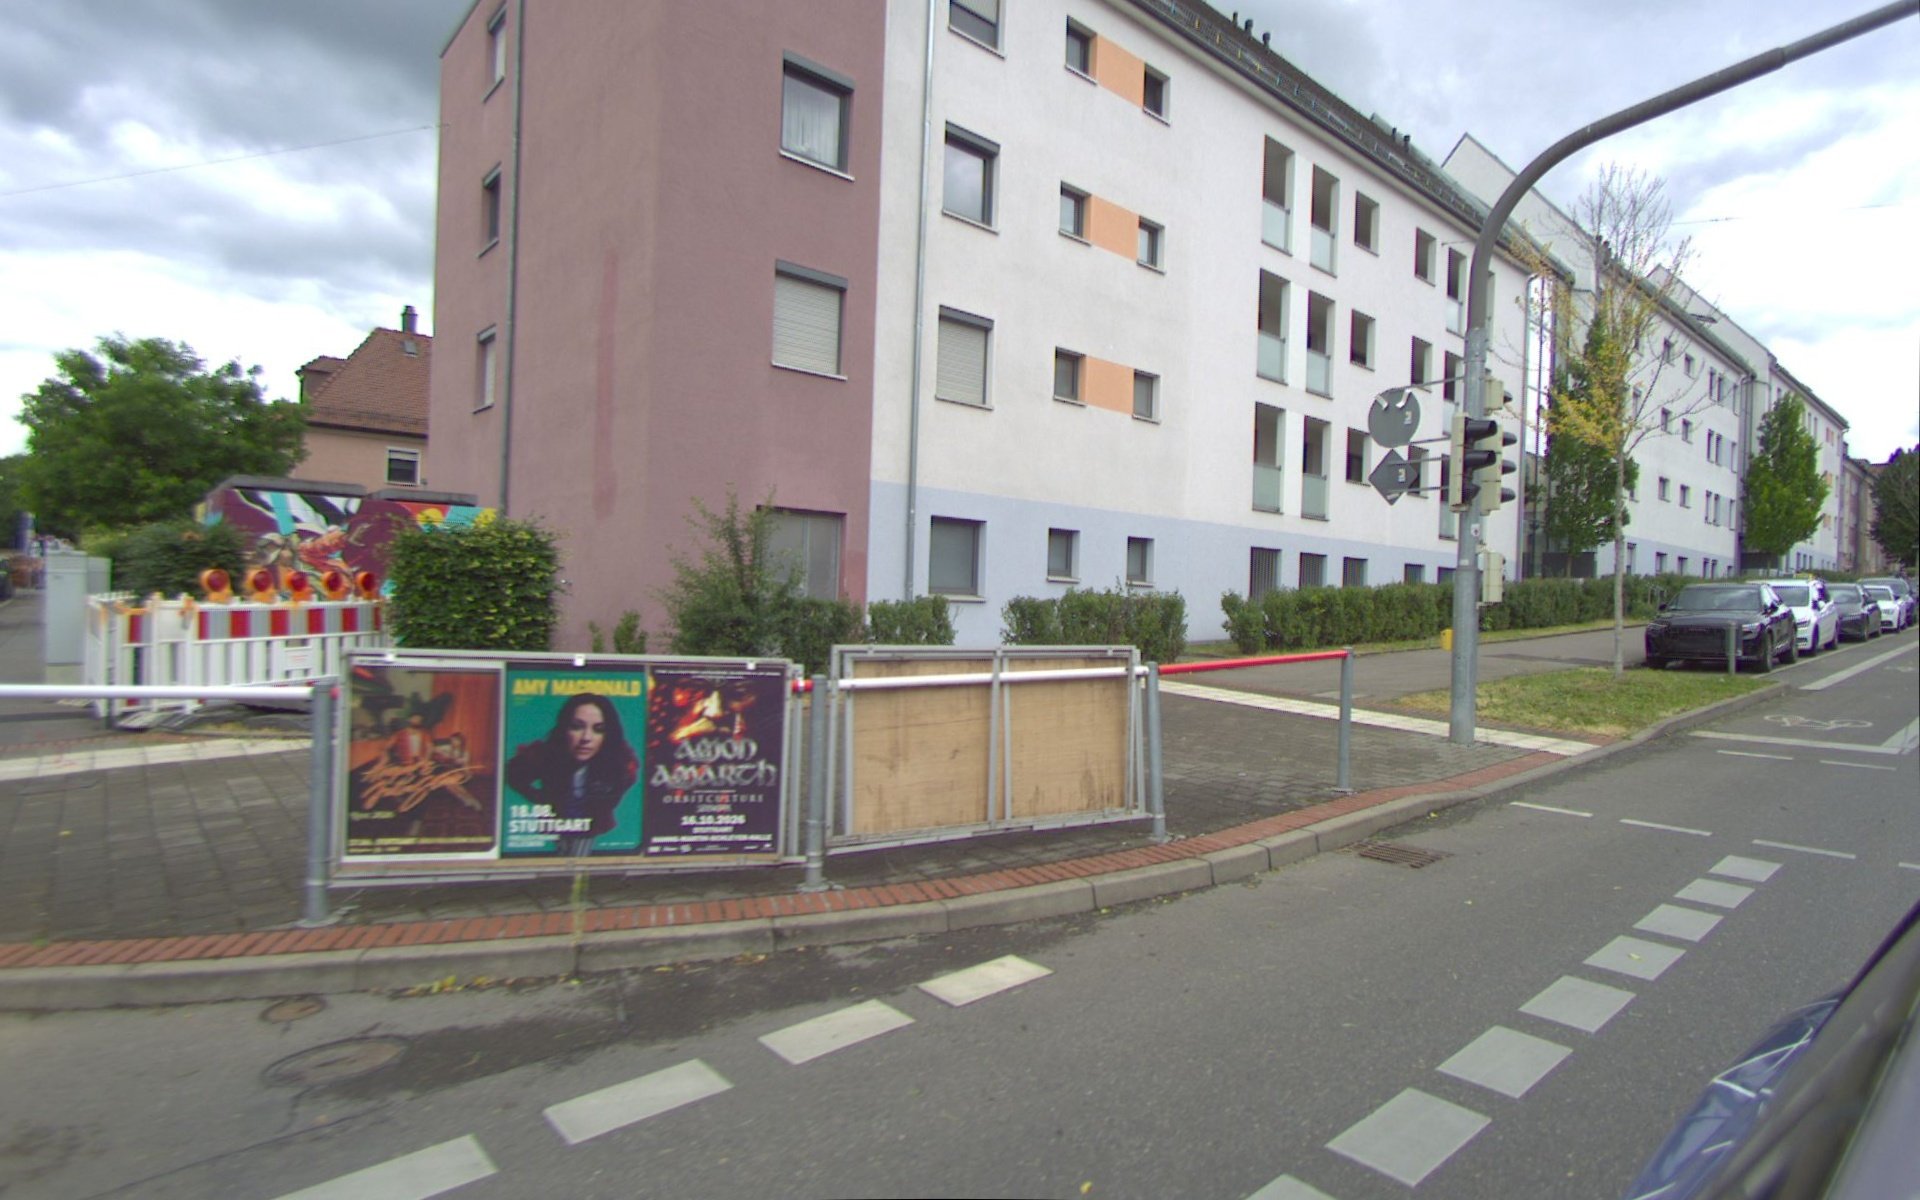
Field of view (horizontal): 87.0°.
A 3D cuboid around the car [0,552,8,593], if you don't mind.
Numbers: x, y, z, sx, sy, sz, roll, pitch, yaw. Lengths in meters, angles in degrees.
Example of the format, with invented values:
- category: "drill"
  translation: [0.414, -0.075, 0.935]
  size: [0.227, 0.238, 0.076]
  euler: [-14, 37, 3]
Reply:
- category: "car"
  translation: [-36.626, -1.078, 37.389]
  size: [1.735, 1.538, 3.794]
  euler: [5, -2, -39]

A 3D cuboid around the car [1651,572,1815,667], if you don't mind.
- category: "car"
  translation: [14.860, 0.289, 19.356]
  size: [4.496, 1.608, 1.736]
  euler: [-2, 1, -43]

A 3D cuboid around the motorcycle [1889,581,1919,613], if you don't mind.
- category: "motorcycle"
  translation: [39.460, -0.112, 41.036]
  size: [0.741, 1.294, 2.599]
  euler: [0, 1, -44]

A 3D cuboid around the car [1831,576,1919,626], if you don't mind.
- category: "car"
  translation: [27.870, 0.012, 30.654]
  size: [4.423, 1.431, 1.732]
  euler: [-1, 0, -42]

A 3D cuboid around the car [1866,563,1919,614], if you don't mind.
- category: "car"
  translation: [32.584, -0.382, 34.784]
  size: [4.280, 1.671, 1.634]
  euler: [-1, 0, -41]

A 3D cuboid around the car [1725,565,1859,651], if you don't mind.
- category: "car"
  translation: [18.655, 0.144, 22.627]
  size: [4.473, 1.737, 1.661]
  euler: [-1, 0, -42]

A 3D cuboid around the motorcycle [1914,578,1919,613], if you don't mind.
- category: "motorcycle"
  translation: [39.296, -0.150, 39.751]
  size: [0.681, 1.398, 2.599]
  euler: [0, 1, -44]

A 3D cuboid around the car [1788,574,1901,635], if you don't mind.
- category: "car"
  translation: [23.666, 0.092, 27.011]
  size: [4.865, 1.486, 1.747]
  euler: [-1, 0, -43]
